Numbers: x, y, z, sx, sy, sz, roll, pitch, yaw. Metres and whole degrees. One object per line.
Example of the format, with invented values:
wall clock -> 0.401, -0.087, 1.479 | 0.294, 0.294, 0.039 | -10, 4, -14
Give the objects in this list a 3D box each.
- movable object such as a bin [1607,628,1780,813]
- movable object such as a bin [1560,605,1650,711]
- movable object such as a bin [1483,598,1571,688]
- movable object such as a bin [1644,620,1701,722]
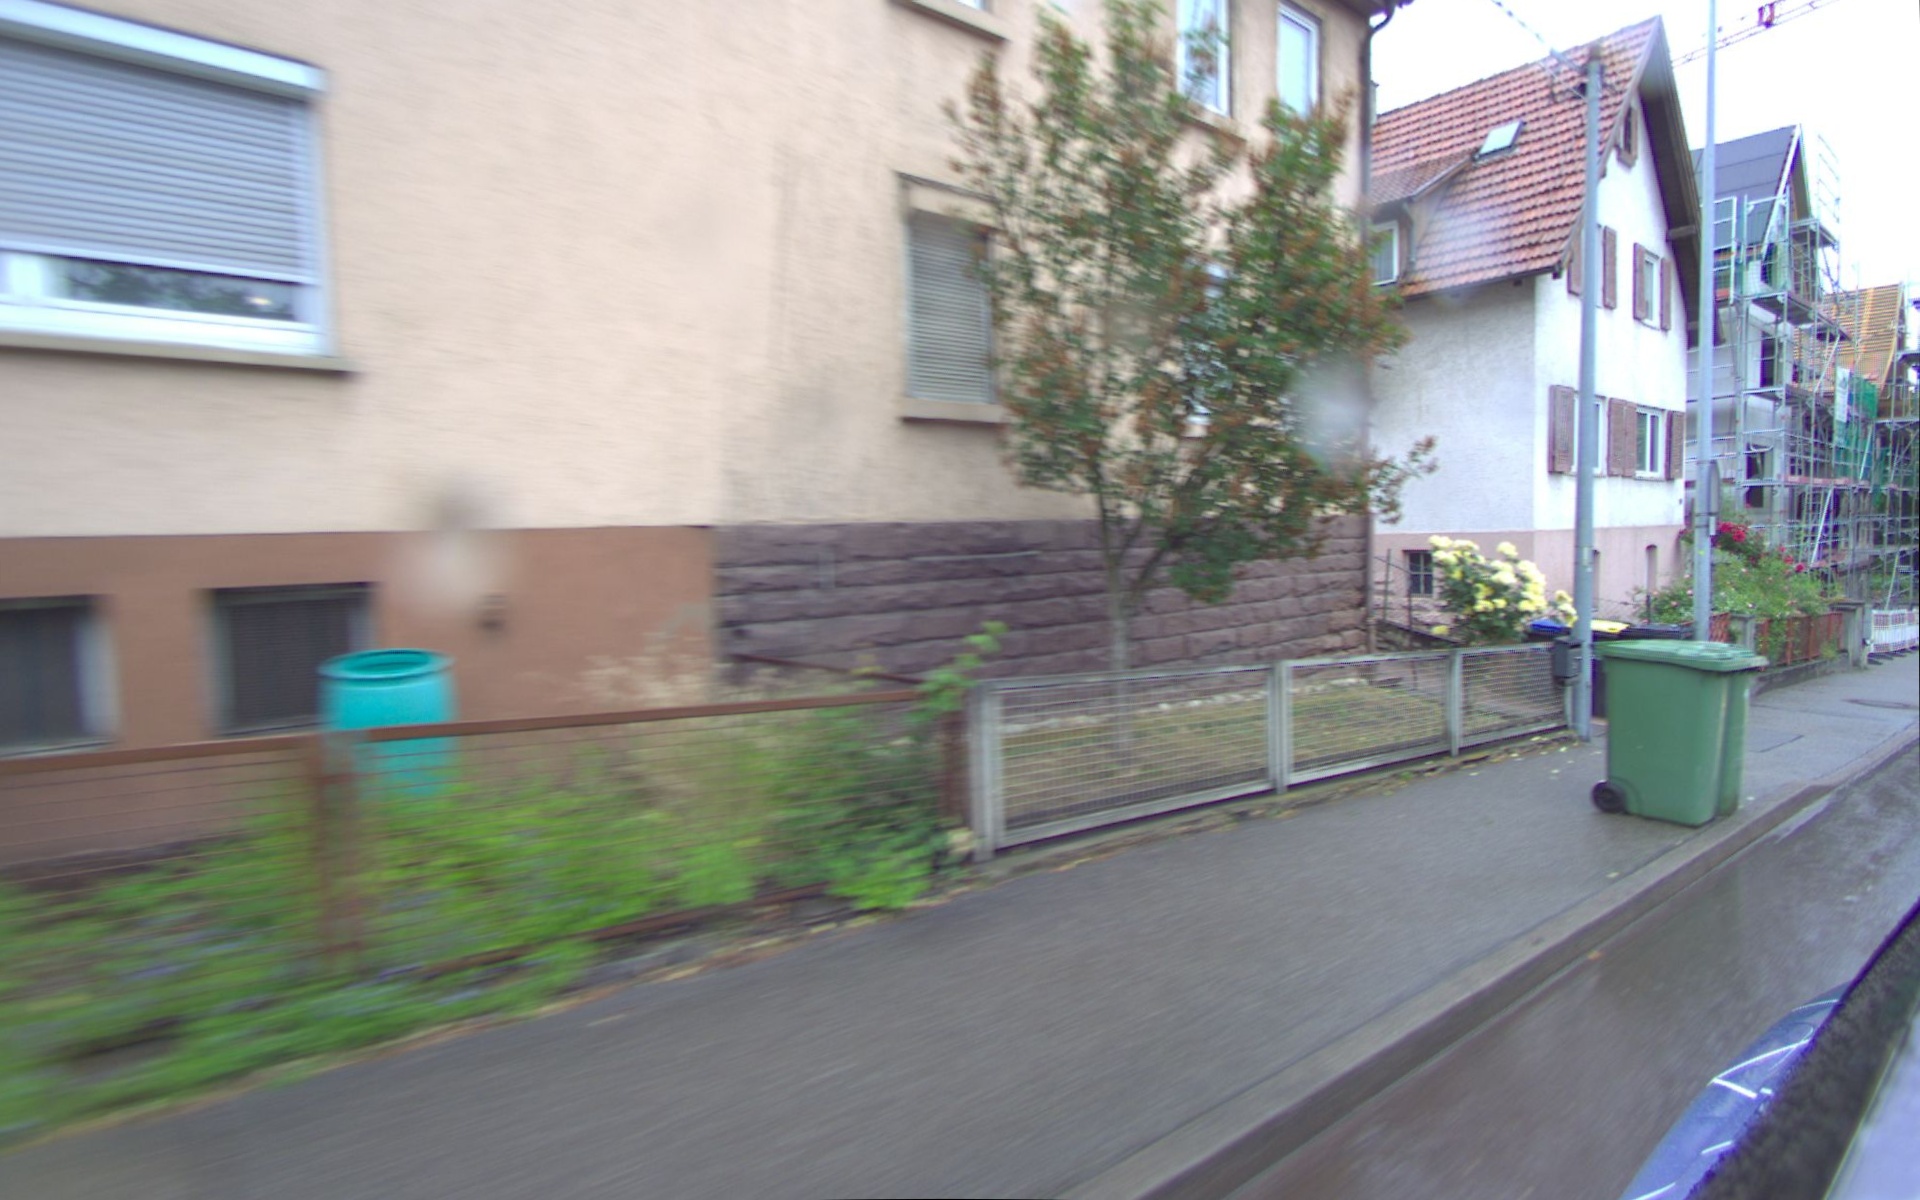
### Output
movable object such as a bin -> 4.790, 0.739, 6.613 | 0.785, 1.065, 0.722 | 0, 0, -37
movable object such as a bin -> 7.273, 0.631, 11.404 | 0.778, 1.089, 0.610 | 0, 4, -43
movable object such as a bin -> 6.860, 0.499, 12.245 | 0.778, 0.978, 0.611 | 0, 7, -43
movable object such as a bin -> 7.564, 0.735, 10.742 | 0.479, 1.031, 0.380 | 0, 0, -40
